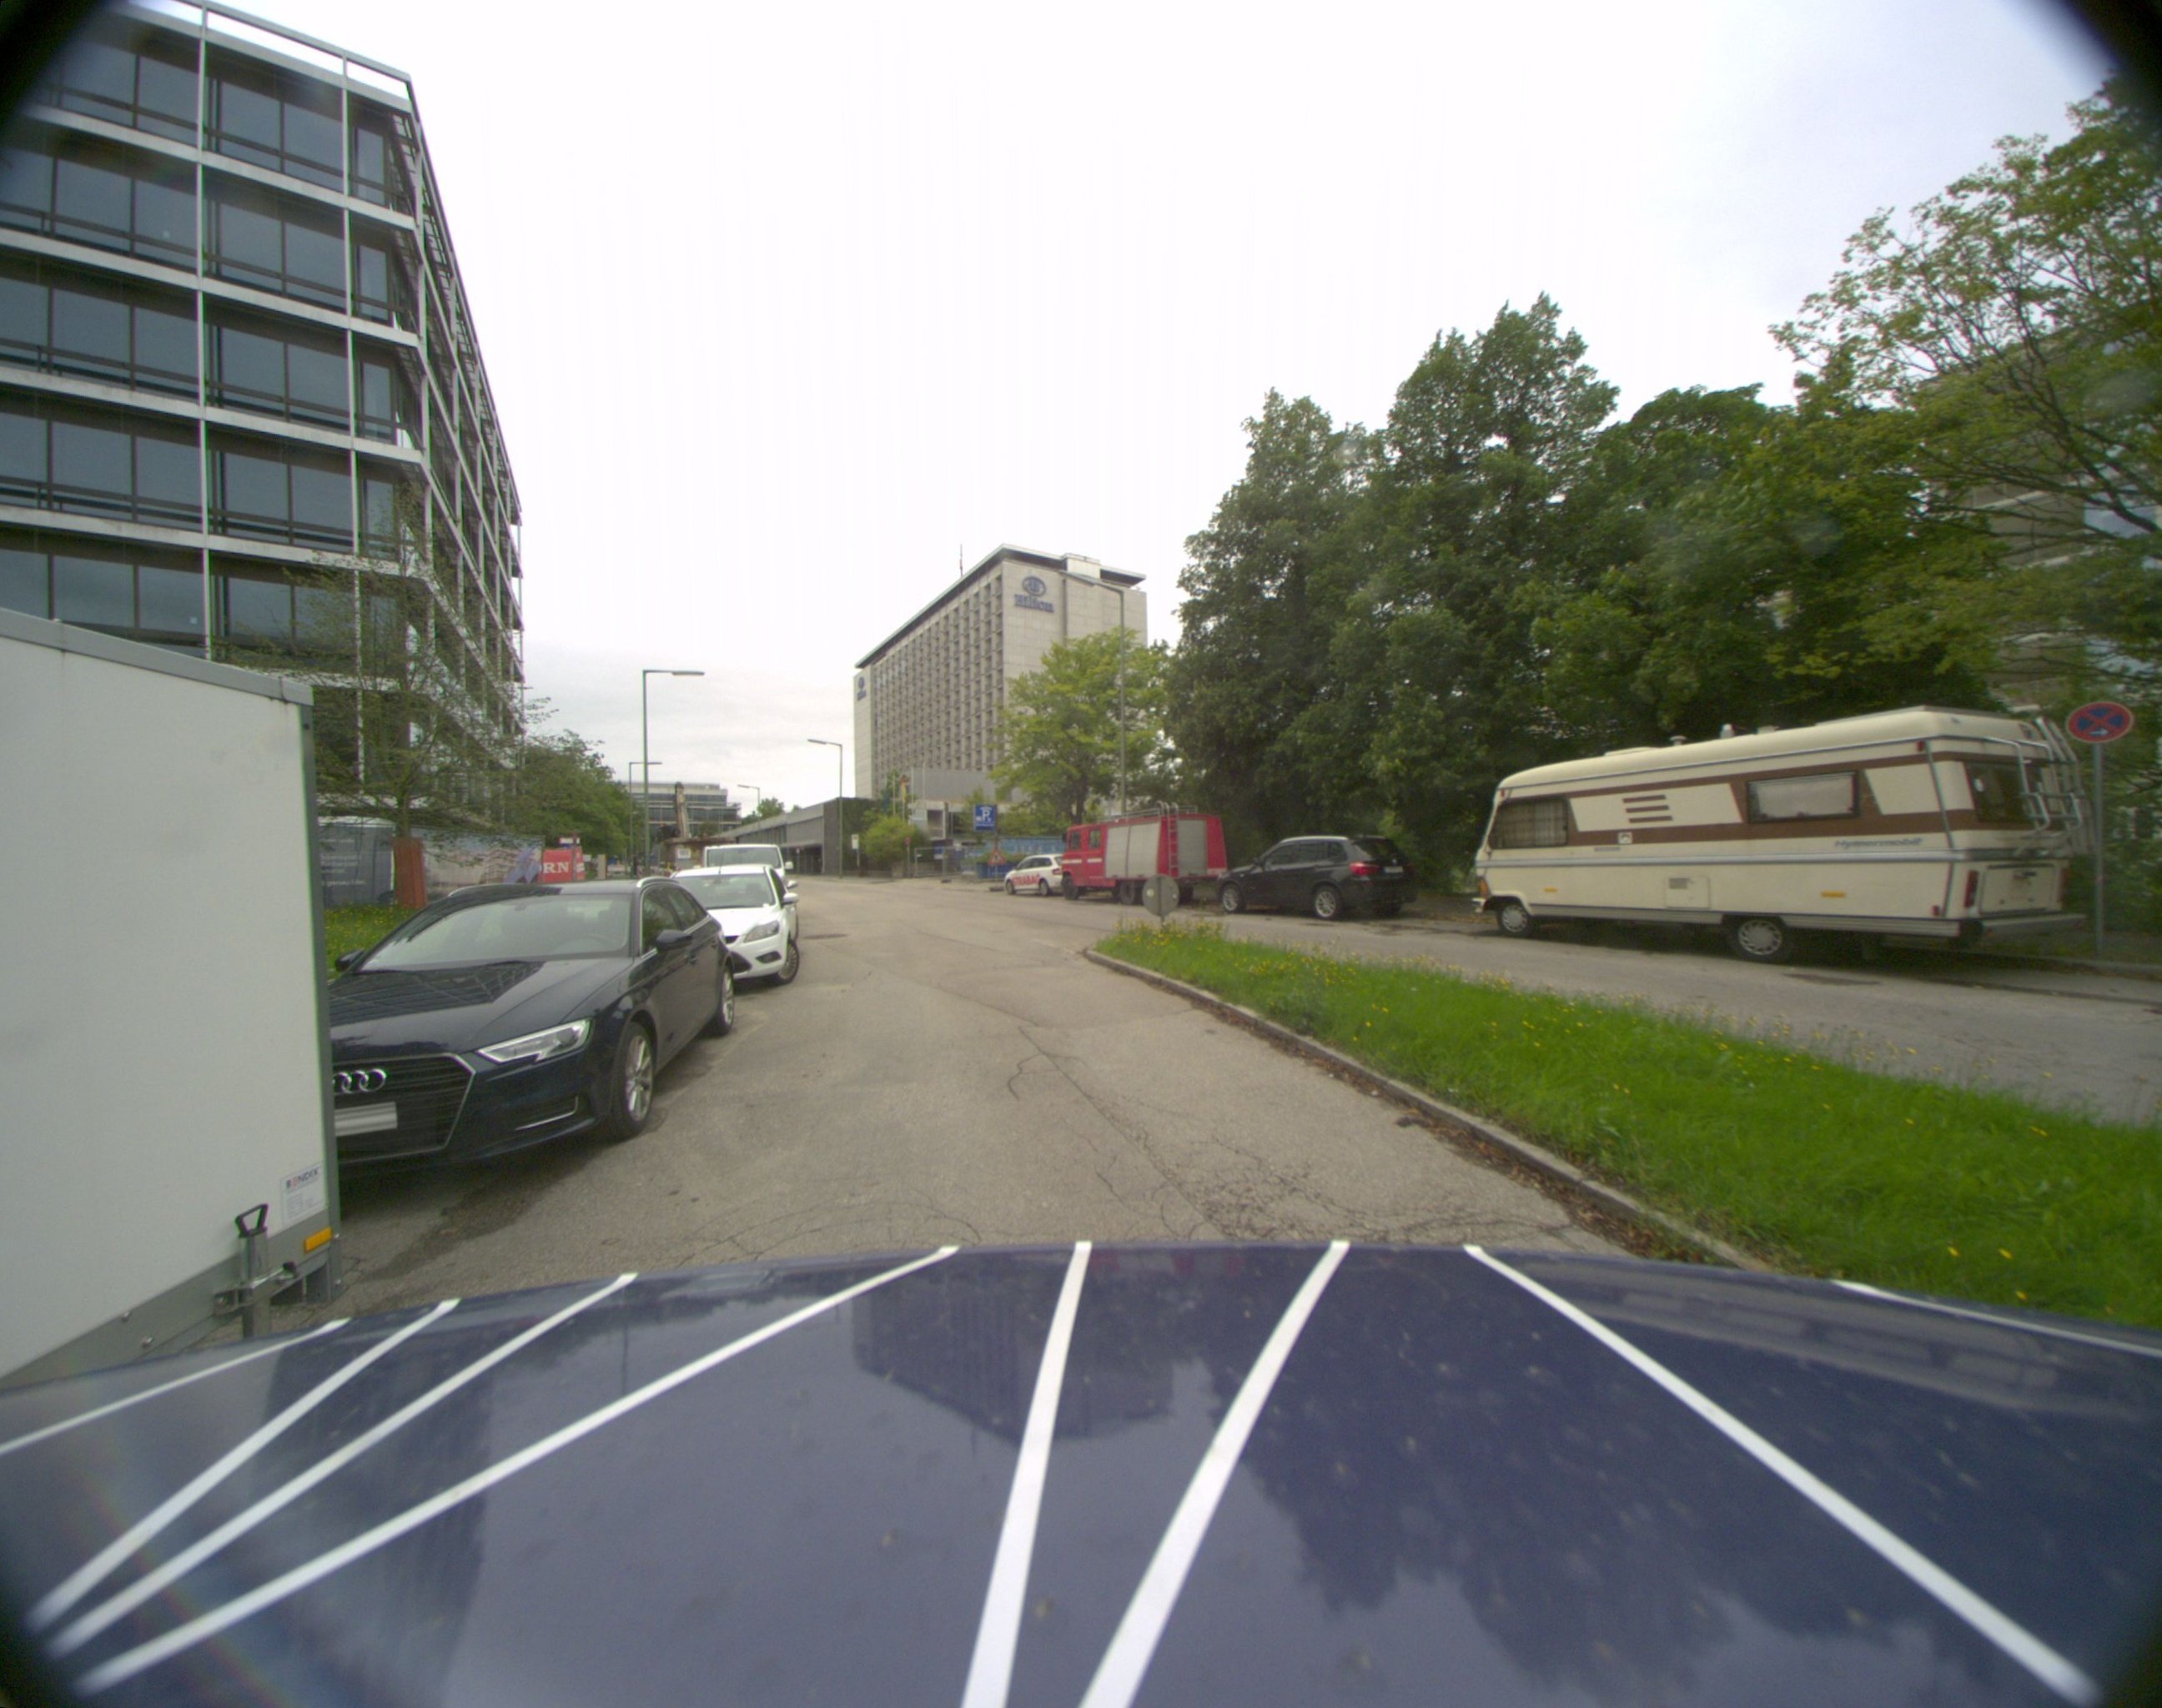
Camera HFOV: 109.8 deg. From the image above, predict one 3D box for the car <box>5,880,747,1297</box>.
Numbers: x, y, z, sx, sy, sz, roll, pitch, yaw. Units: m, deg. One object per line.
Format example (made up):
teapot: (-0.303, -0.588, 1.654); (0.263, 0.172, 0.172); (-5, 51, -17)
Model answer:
car: (-3.681, 0.965, 5.194); (1.879, 1.428, 4.322); (0, 0, -15)

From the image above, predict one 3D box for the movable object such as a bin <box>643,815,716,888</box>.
movable object such as a bin: (-22.653, -0.160, 43.174); (3.256, 3.695, 8.987); (-1, 1, -26)

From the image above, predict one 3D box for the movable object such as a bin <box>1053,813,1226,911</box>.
movable object such as a bin: (1.448, 0.198, 22.233); (2.114, 2.444, 6.173); (-1, 0, -27)

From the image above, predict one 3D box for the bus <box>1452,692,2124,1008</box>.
bus: (7.888, -0.037, 9.535); (2.325, 2.683, 5.724); (-1, 0, -21)

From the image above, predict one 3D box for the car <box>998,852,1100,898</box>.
car: (-1.270, 0.729, 28.121); (1.785, 1.540, 4.246); (-1, 0, -33)

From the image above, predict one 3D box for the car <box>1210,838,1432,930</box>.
car: (4.854, 0.542, 16.057); (1.784, 1.640, 4.450); (-1, 0, -29)

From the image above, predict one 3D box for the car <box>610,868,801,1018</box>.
car: (-4.830, 0.993, 10.361); (1.774, 1.477, 4.214); (-1, 0, -19)

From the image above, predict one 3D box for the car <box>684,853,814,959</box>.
car: (-6.555, 0.859, 14.996); (2.002, 1.718, 4.440); (-1, 1, -25)

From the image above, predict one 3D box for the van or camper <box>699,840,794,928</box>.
van or camper: (-8.999, 0.663, 20.240); (2.003, 2.002, 5.364); (-1, 1, -26)
